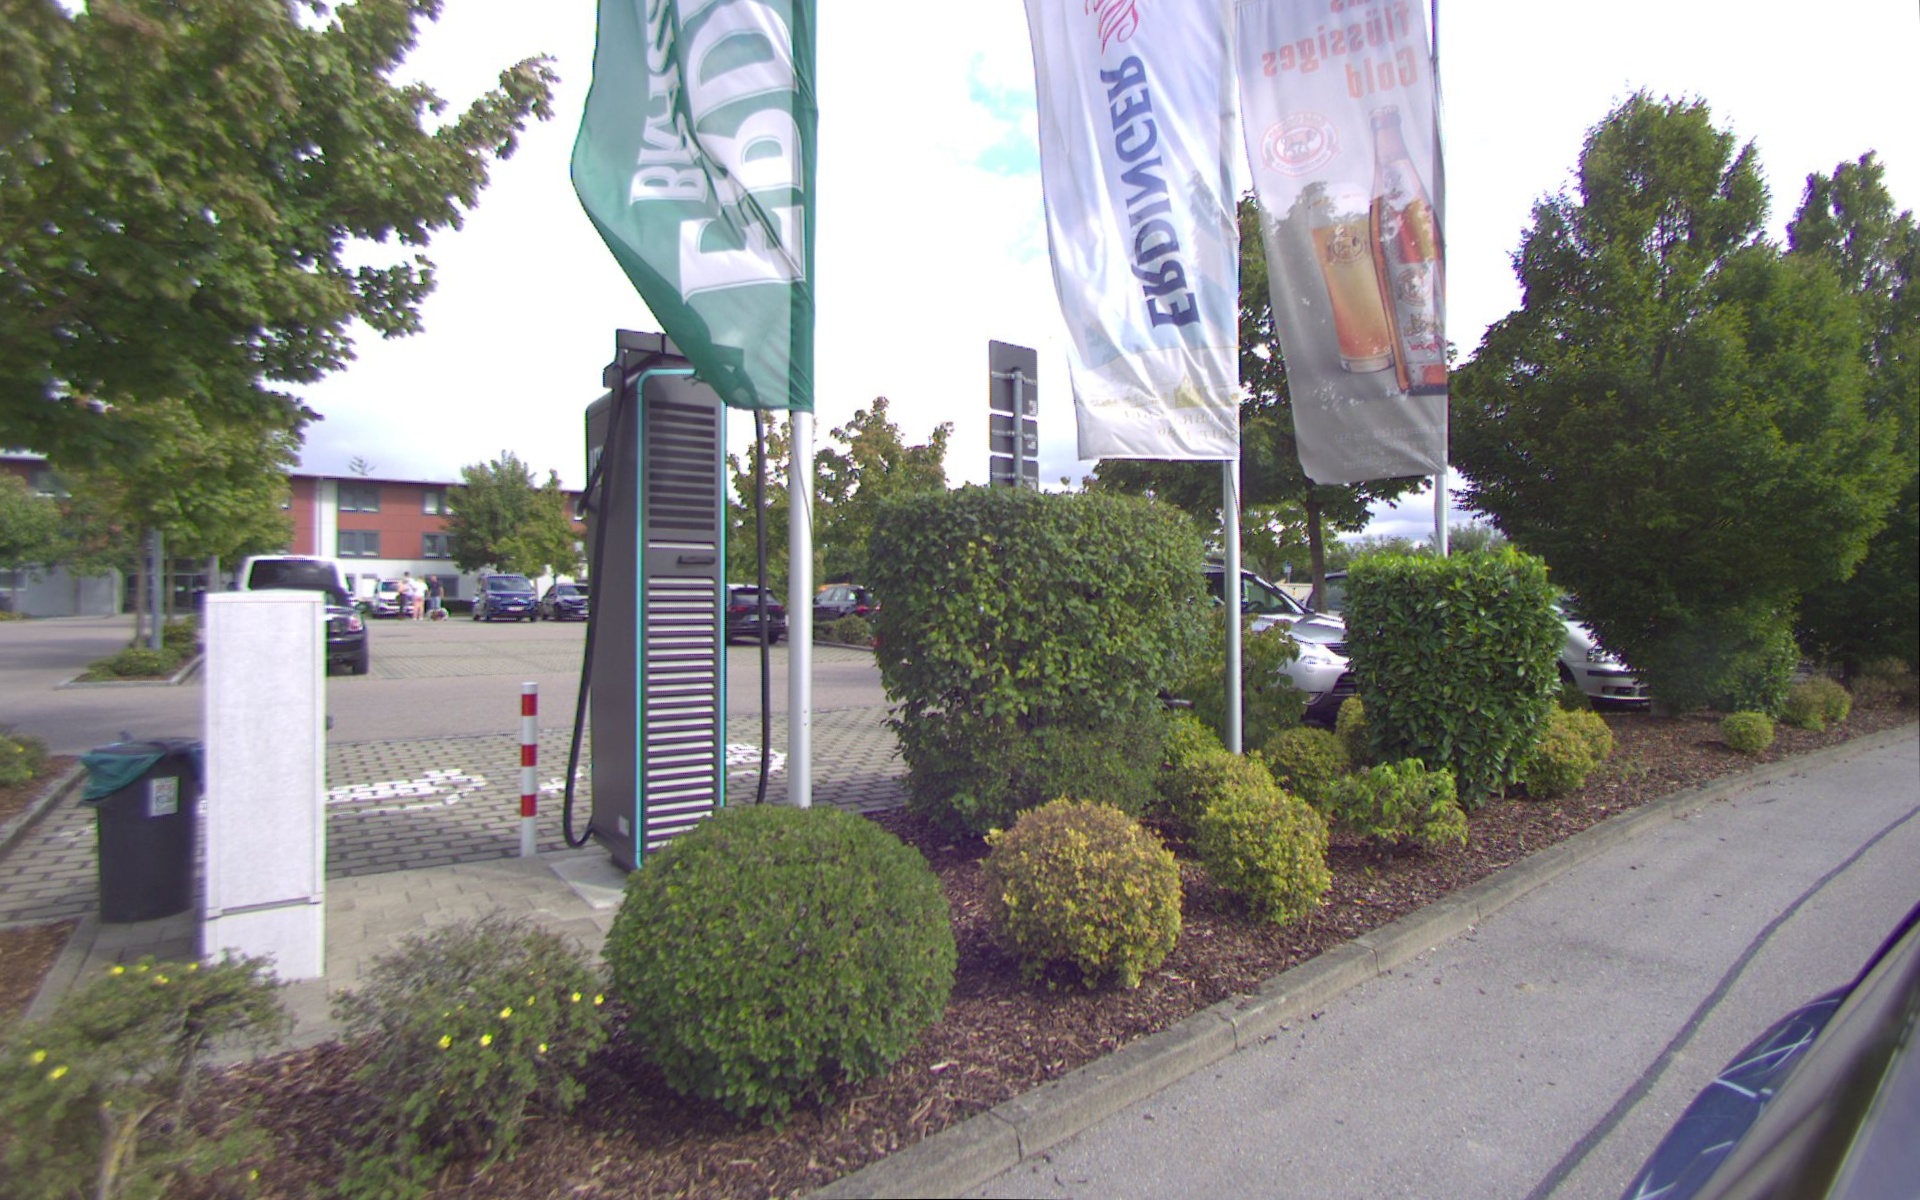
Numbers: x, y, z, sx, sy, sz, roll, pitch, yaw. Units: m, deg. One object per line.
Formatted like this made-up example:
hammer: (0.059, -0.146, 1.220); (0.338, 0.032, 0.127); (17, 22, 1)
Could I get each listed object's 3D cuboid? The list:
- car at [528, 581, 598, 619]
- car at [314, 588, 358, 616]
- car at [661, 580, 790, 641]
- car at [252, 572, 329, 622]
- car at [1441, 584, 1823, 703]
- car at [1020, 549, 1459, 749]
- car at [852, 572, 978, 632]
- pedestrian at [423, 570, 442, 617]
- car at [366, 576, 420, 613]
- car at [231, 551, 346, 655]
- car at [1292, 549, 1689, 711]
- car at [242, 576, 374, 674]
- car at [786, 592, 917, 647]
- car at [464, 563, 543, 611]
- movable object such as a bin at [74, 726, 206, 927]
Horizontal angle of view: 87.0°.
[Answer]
car: (-14.977, -0.002, 38.082); (1.501, 1.391, 3.475); (0, 0, -38)
car: (-36.446, 0.109, 59.096); (1.754, 1.564, 3.996); (0, 0, -38)
car: (-5.913, 0.238, 25.146); (1.688, 1.363, 4.276); (0, 0, -34)
car: (-21.762, -0.089, 32.839); (1.790, 1.519, 3.842); (0, 0, -38)
car: (8.904, 0.501, 13.729); (1.693, 1.367, 3.999); (0, 0, -36)
car: (2.753, 0.349, 11.186); (1.881, 1.717, 4.685); (-1, 2, -31)
car: (-1.370, 0.063, 29.208); (1.961, 1.591, 4.002); (0, 0, -32)
pedestrian: (-19.885, -0.250, 38.136); (0.490, 1.747, 0.416); (0, -1, -3)
car: (-27.908, -0.253, 49.775); (1.735, 1.742, 3.996); (0, 0, -38)
car: (-13.461, 0.048, 20.283); (1.733, 1.845, 4.366); (0, 0, -34)
car: (6.652, 0.323, 13.205); (1.625, 1.738, 4.365); (0, 0, -33)
car: (-10.358, 0.351, 16.040); (1.598, 1.368, 3.373); (0, 0, -34)
car: (-3.004, 0.480, 27.291); (1.688, 1.363, 4.276); (0, 0, -34)
car: (-16.841, -0.444, 37.256); (1.735, 1.677, 3.996); (0, 0, -38)
movable object such as a bin: (-3.213, 0.870, 3.983); (0.360, 0.693, 0.289); (0, -1, -31)
